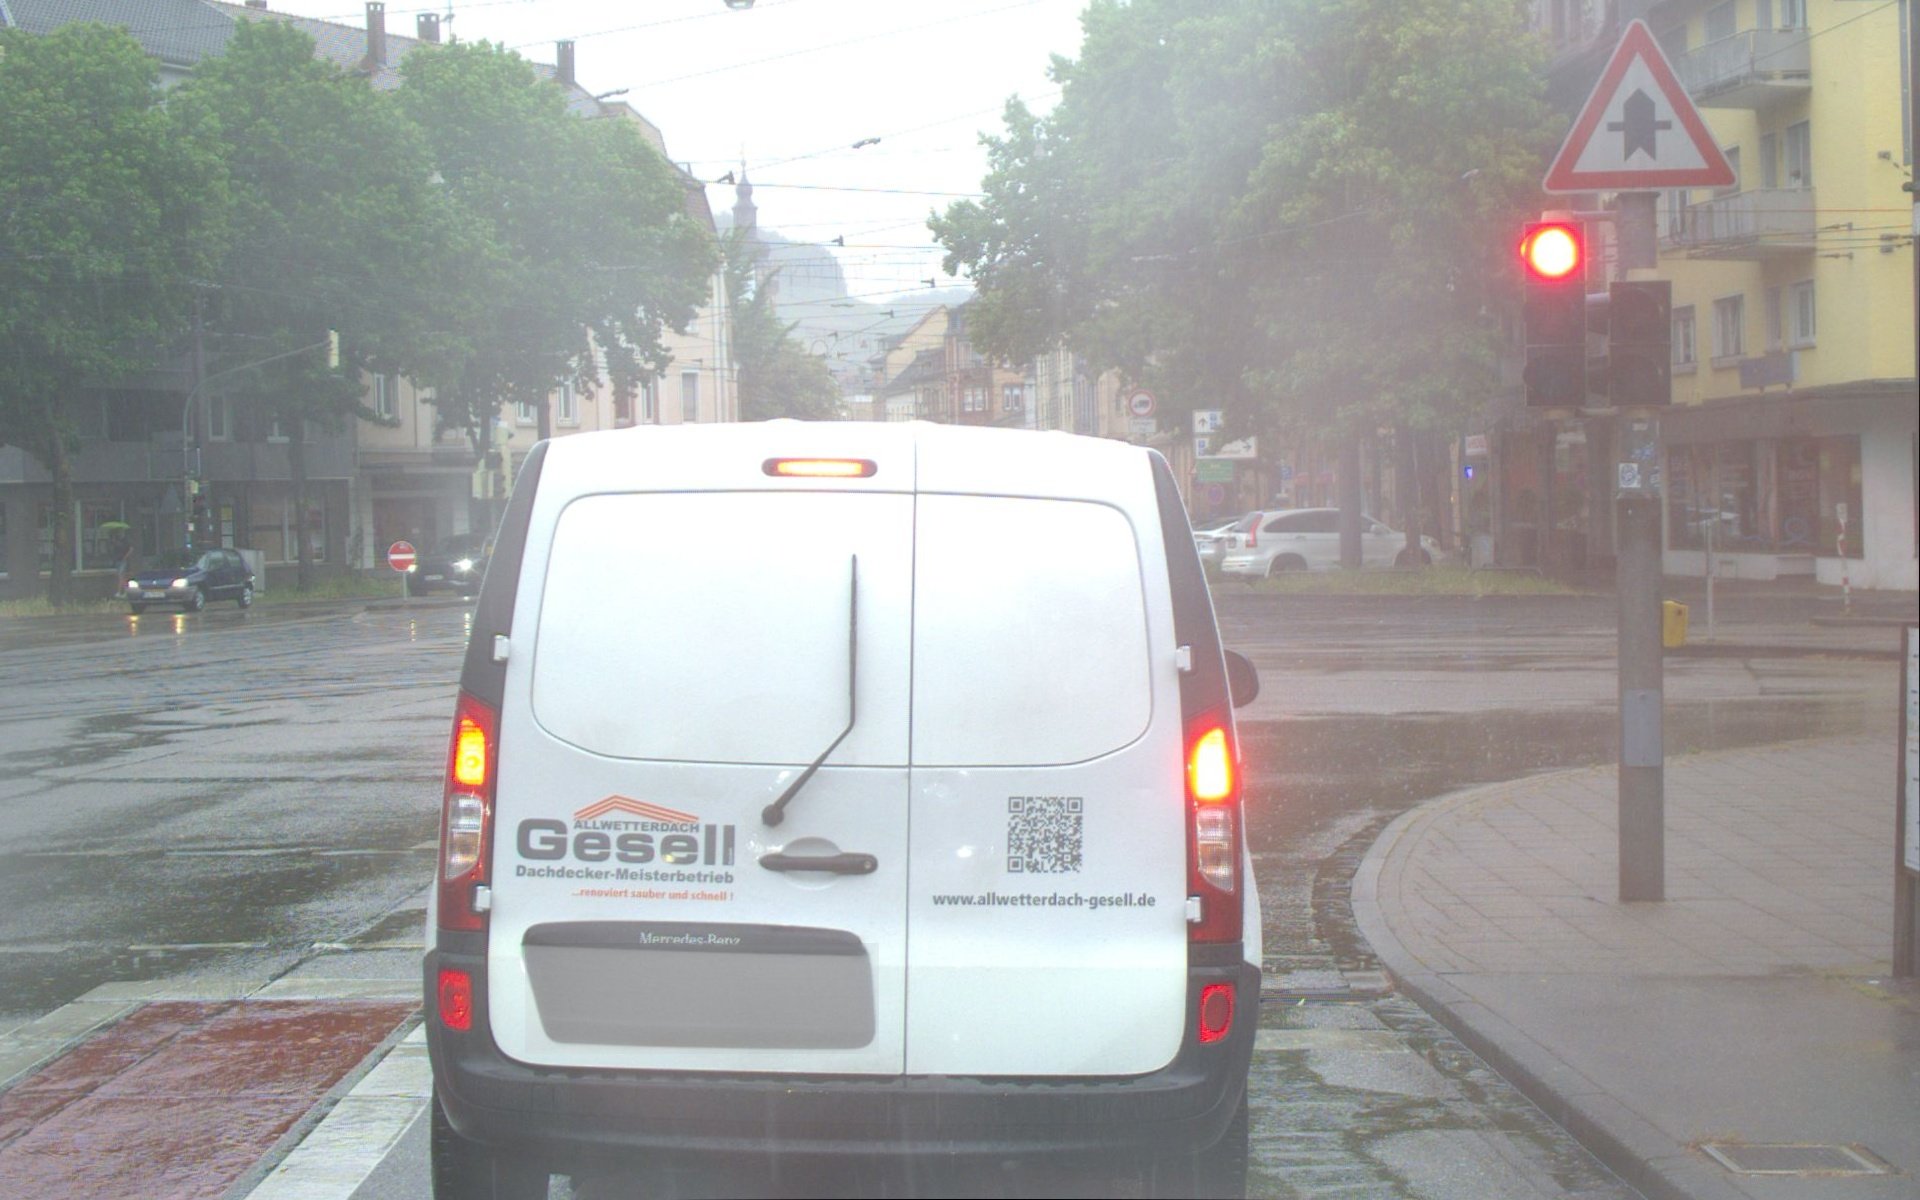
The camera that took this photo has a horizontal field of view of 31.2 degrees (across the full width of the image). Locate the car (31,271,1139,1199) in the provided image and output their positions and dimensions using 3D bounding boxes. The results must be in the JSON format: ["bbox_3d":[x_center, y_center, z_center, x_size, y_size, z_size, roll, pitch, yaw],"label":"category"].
[{"bbox_3d":[-0.741,0.355,9.046,2.100,2.005,4.963,0,1,-1],"label":"car"}]

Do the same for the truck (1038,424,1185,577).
[{"bbox_3d":[5.525,-3.436,121.963,3.471,5.070,15.301,0,1,9],"label":"truck"}]

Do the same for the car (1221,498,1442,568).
[{"bbox_3d":[7.429,-1.346,68.914,4.165,1.334,1.521,-1,2,-7],"label":"car"}]

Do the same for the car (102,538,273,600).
[{"bbox_3d":[-16.908,-0.705,75.453,1.952,1.235,3.997,0,2,16],"label":"car"}]
